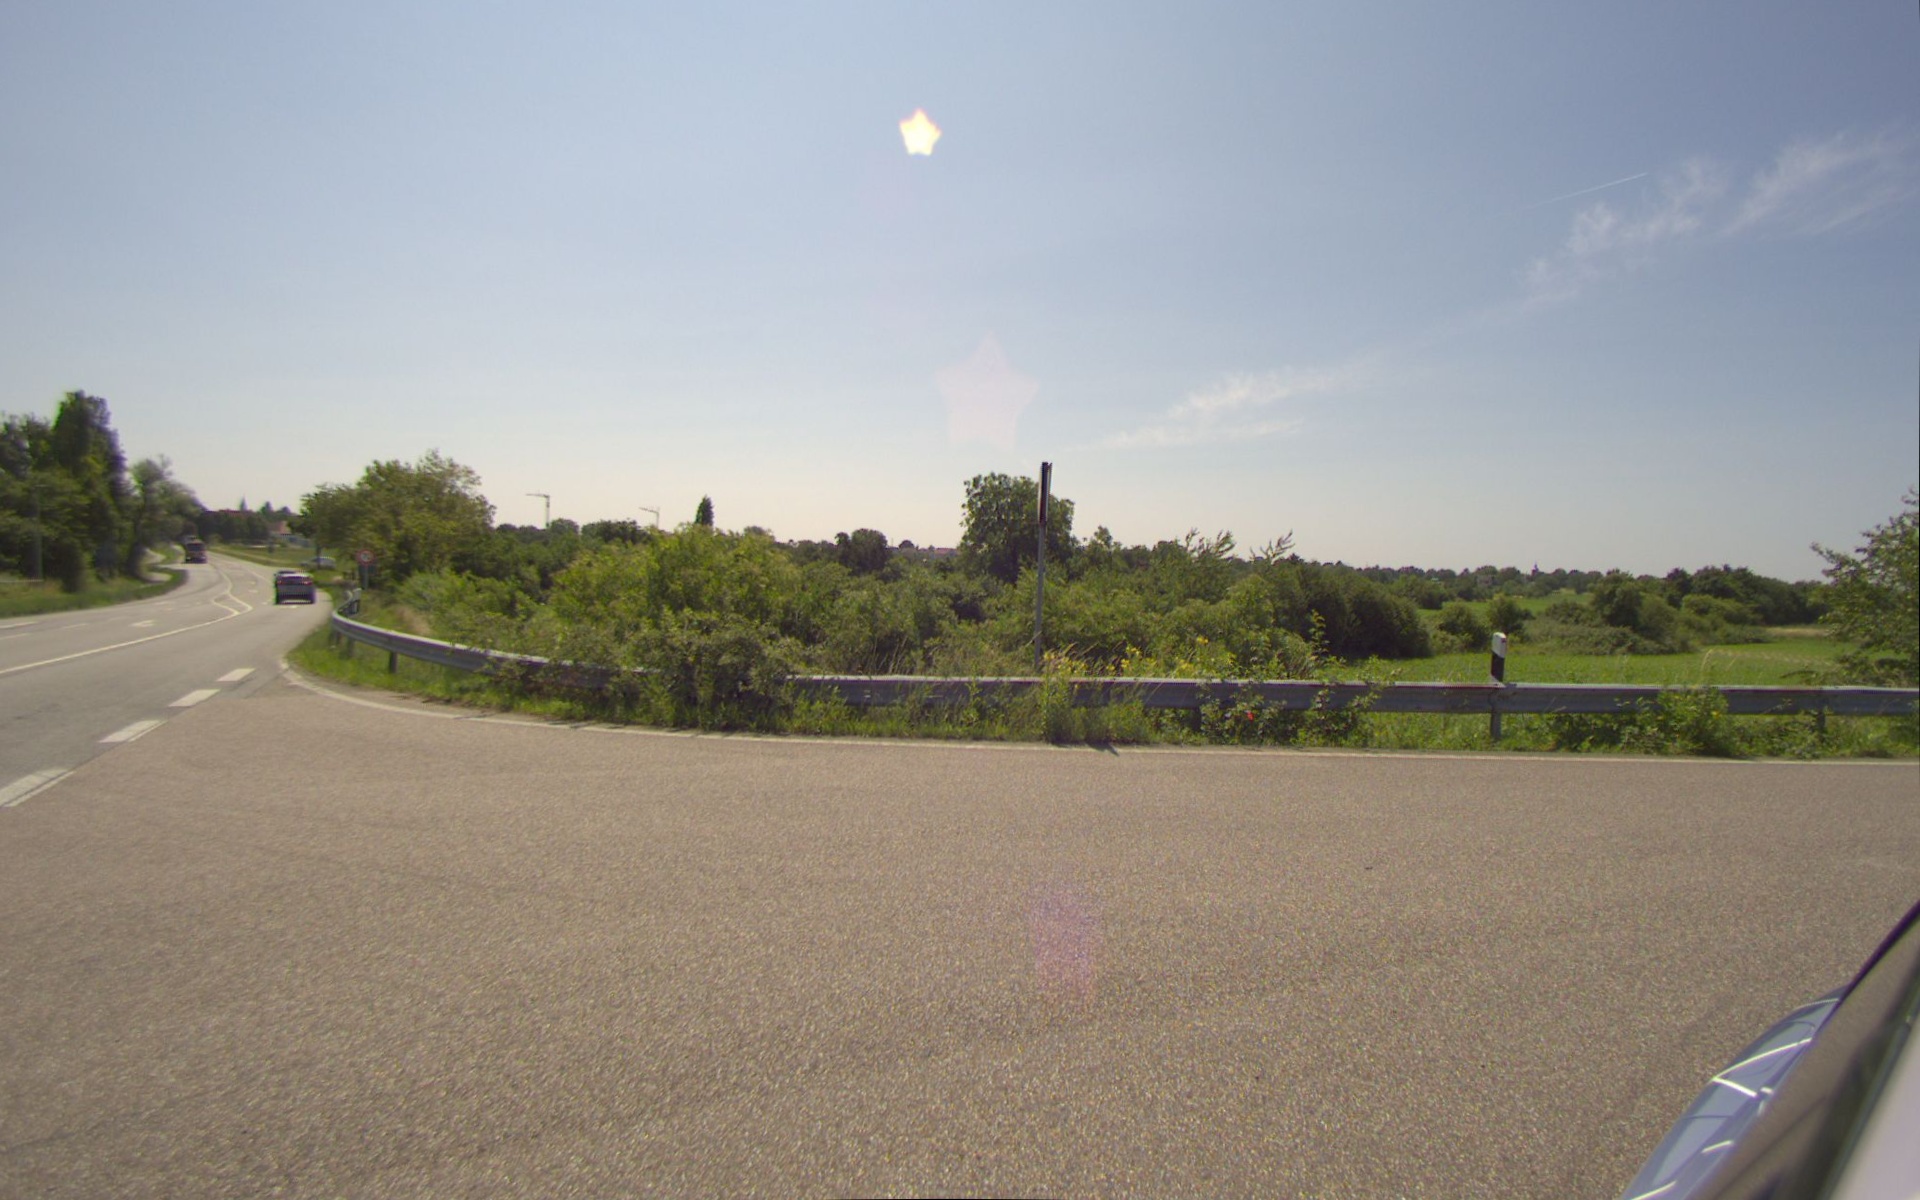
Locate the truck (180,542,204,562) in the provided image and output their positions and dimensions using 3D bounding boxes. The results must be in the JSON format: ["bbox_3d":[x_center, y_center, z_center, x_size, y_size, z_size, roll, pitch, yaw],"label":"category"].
[{"bbox_3d":[-113.406,-7.125,149.453,2.810,2.821,6.956,0,2,-37],"label":"truck"}]

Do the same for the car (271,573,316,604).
[{"bbox_3d":[-36.570,-0.633,55.596,1.762,1.603,4.496,0,1,-30],"label":"car"}]

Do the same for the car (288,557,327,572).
[{"bbox_3d":[-93.337,-5.074,144.834,4.322,2.039,2.004,0,1,-16],"label":"car"}]

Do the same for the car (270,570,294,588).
[{"bbox_3d":[-59.784,-1.837,89.212,1.496,1.592,3.673,0,1,-30],"label":"car"}]
